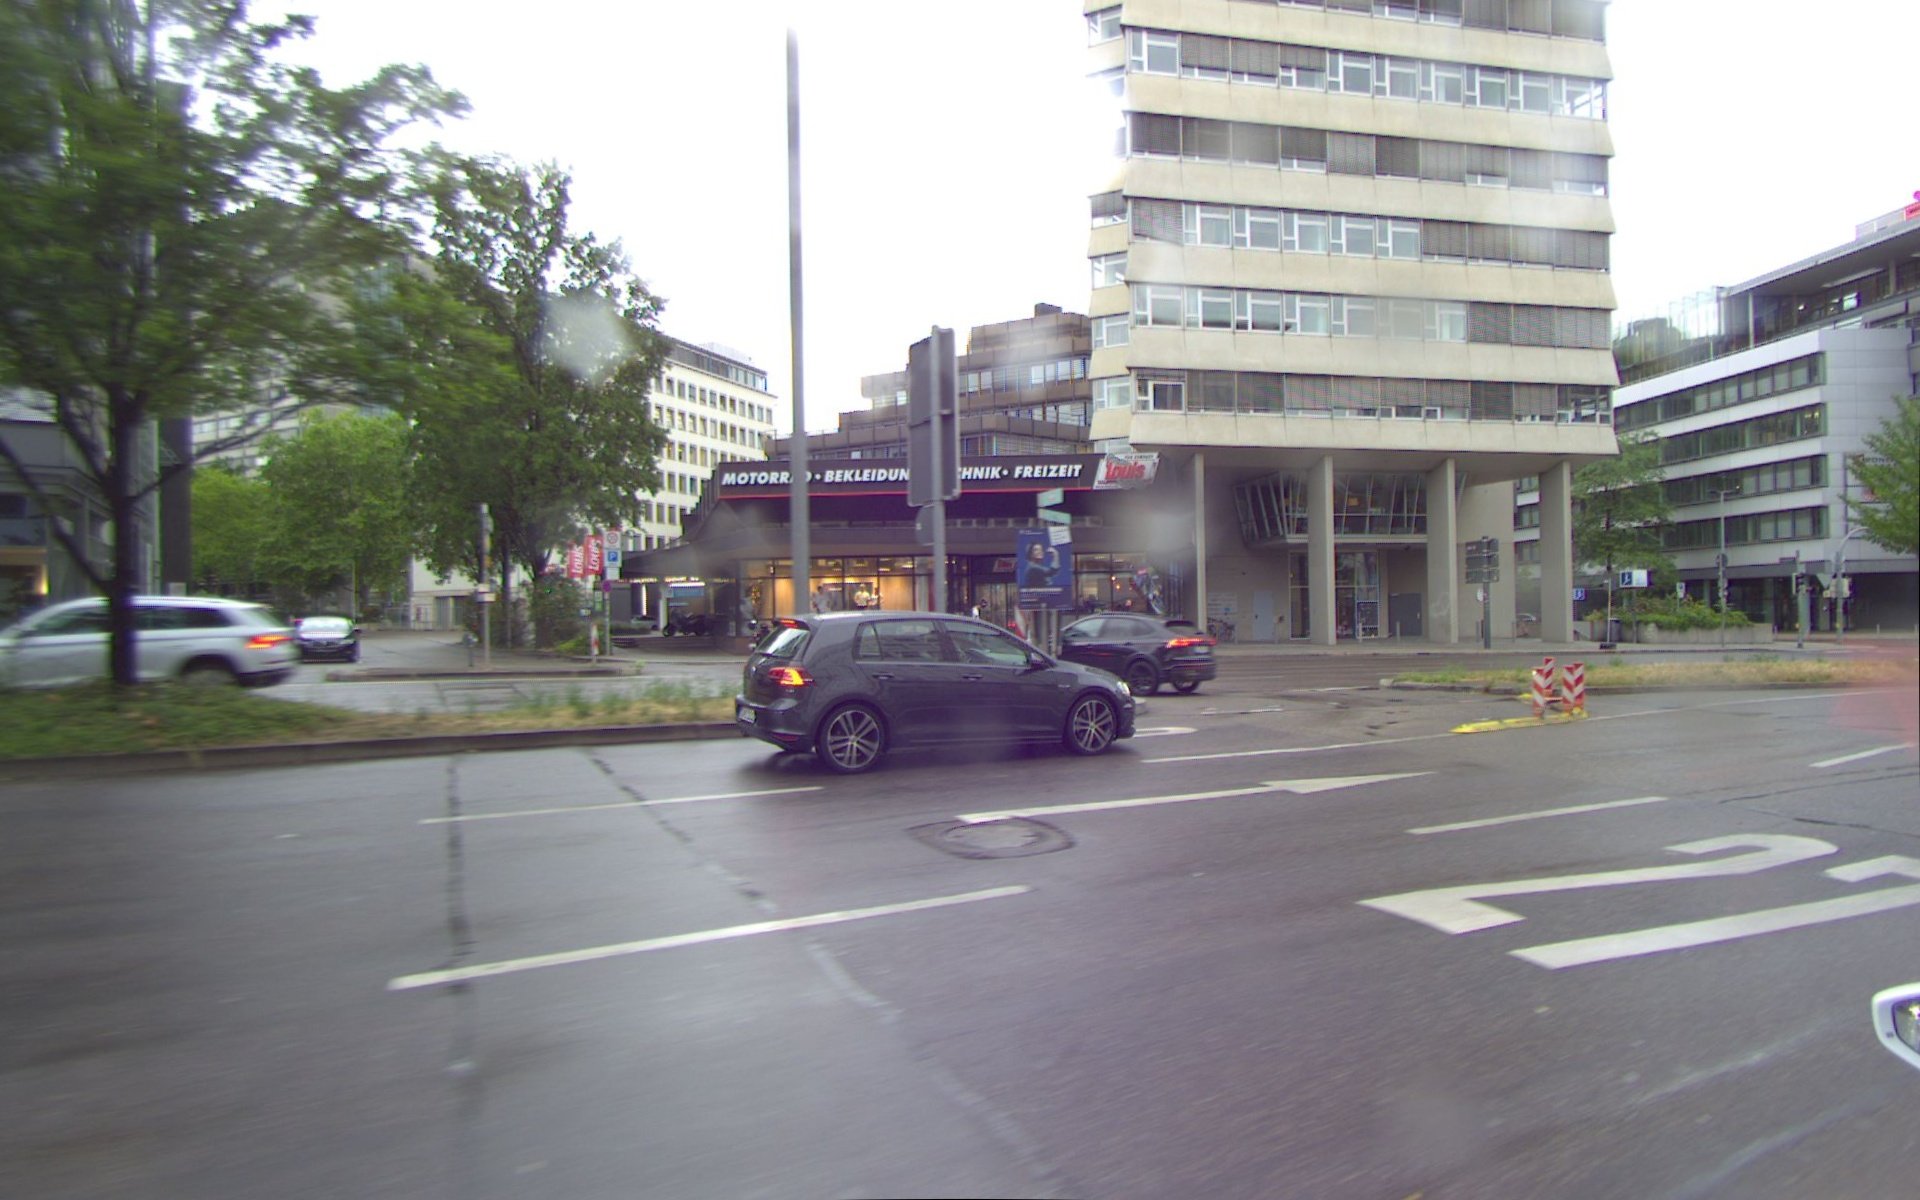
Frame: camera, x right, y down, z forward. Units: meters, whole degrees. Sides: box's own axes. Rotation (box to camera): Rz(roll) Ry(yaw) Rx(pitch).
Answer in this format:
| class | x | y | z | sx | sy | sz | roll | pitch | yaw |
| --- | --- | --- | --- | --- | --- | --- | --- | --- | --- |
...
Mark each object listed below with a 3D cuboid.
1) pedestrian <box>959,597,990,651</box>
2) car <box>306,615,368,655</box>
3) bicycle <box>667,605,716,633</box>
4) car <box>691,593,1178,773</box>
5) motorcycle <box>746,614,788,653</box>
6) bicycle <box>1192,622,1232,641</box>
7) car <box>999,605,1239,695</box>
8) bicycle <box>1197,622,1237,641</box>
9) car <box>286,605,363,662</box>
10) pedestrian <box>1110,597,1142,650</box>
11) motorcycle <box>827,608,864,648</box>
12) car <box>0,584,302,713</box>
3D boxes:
| class | x | y | z | sx | sy | sz | roll | pitch | yaw |
| --- | --- | --- | --- | --- | --- | --- | --- | --- | --- |
| pedestrian | 0.510 | 0.830 | 34.994 | 0.908 | 1.857 | 0.818 | 0 | 0 | -12 |
| car | -22.770 | 1.266 | 36.776 | 1.827 | 1.305 | 3.965 | 1 | 0 | -32 |
| bicycle | -13.394 | 0.935 | 50.102 | 2.182 | 1.345 | 0.913 | 1 | 0 | -31 |
| car | -0.182 | 0.723 | 10.162 | 4.631 | 1.470 | 1.831 | 1 | -1 | -29 |
| motorcycle | -7.096 | 1.214 | 37.112 | 0.709 | 1.351 | 2.822 | 1 | 0 | 6 |
| bicycle | 11.559 | 1.451 | 46.146 | 1.742 | 0.823 | 0.454 | 1 | 0 | -11 |
| car | 3.015 | 0.904 | 19.771 | 1.986 | 1.564 | 4.426 | 1 | -1 | -43 |
| bicycle | 11.656 | 1.449 | 45.563 | 1.742 | 0.823 | 0.454 | 1 | 0 | -11 |
| car | -20.546 | 1.037 | 32.515 | 1.978 | 1.662 | 3.965 | 1 | 0 | -32 |
| pedestrian | 5.844 | 0.829 | 35.367 | 0.909 | 1.857 | 0.728 | 1 | -1 | -12 |
| motorcycle | -4.165 | 1.001 | 36.748 | 0.788 | 1.392 | 2.894 | 1 | 0 | 4 |
| car | -12.485 | 0.665 | 14.886 | 4.439 | 1.751 | 1.729 | 1 | 0 | -30 |
